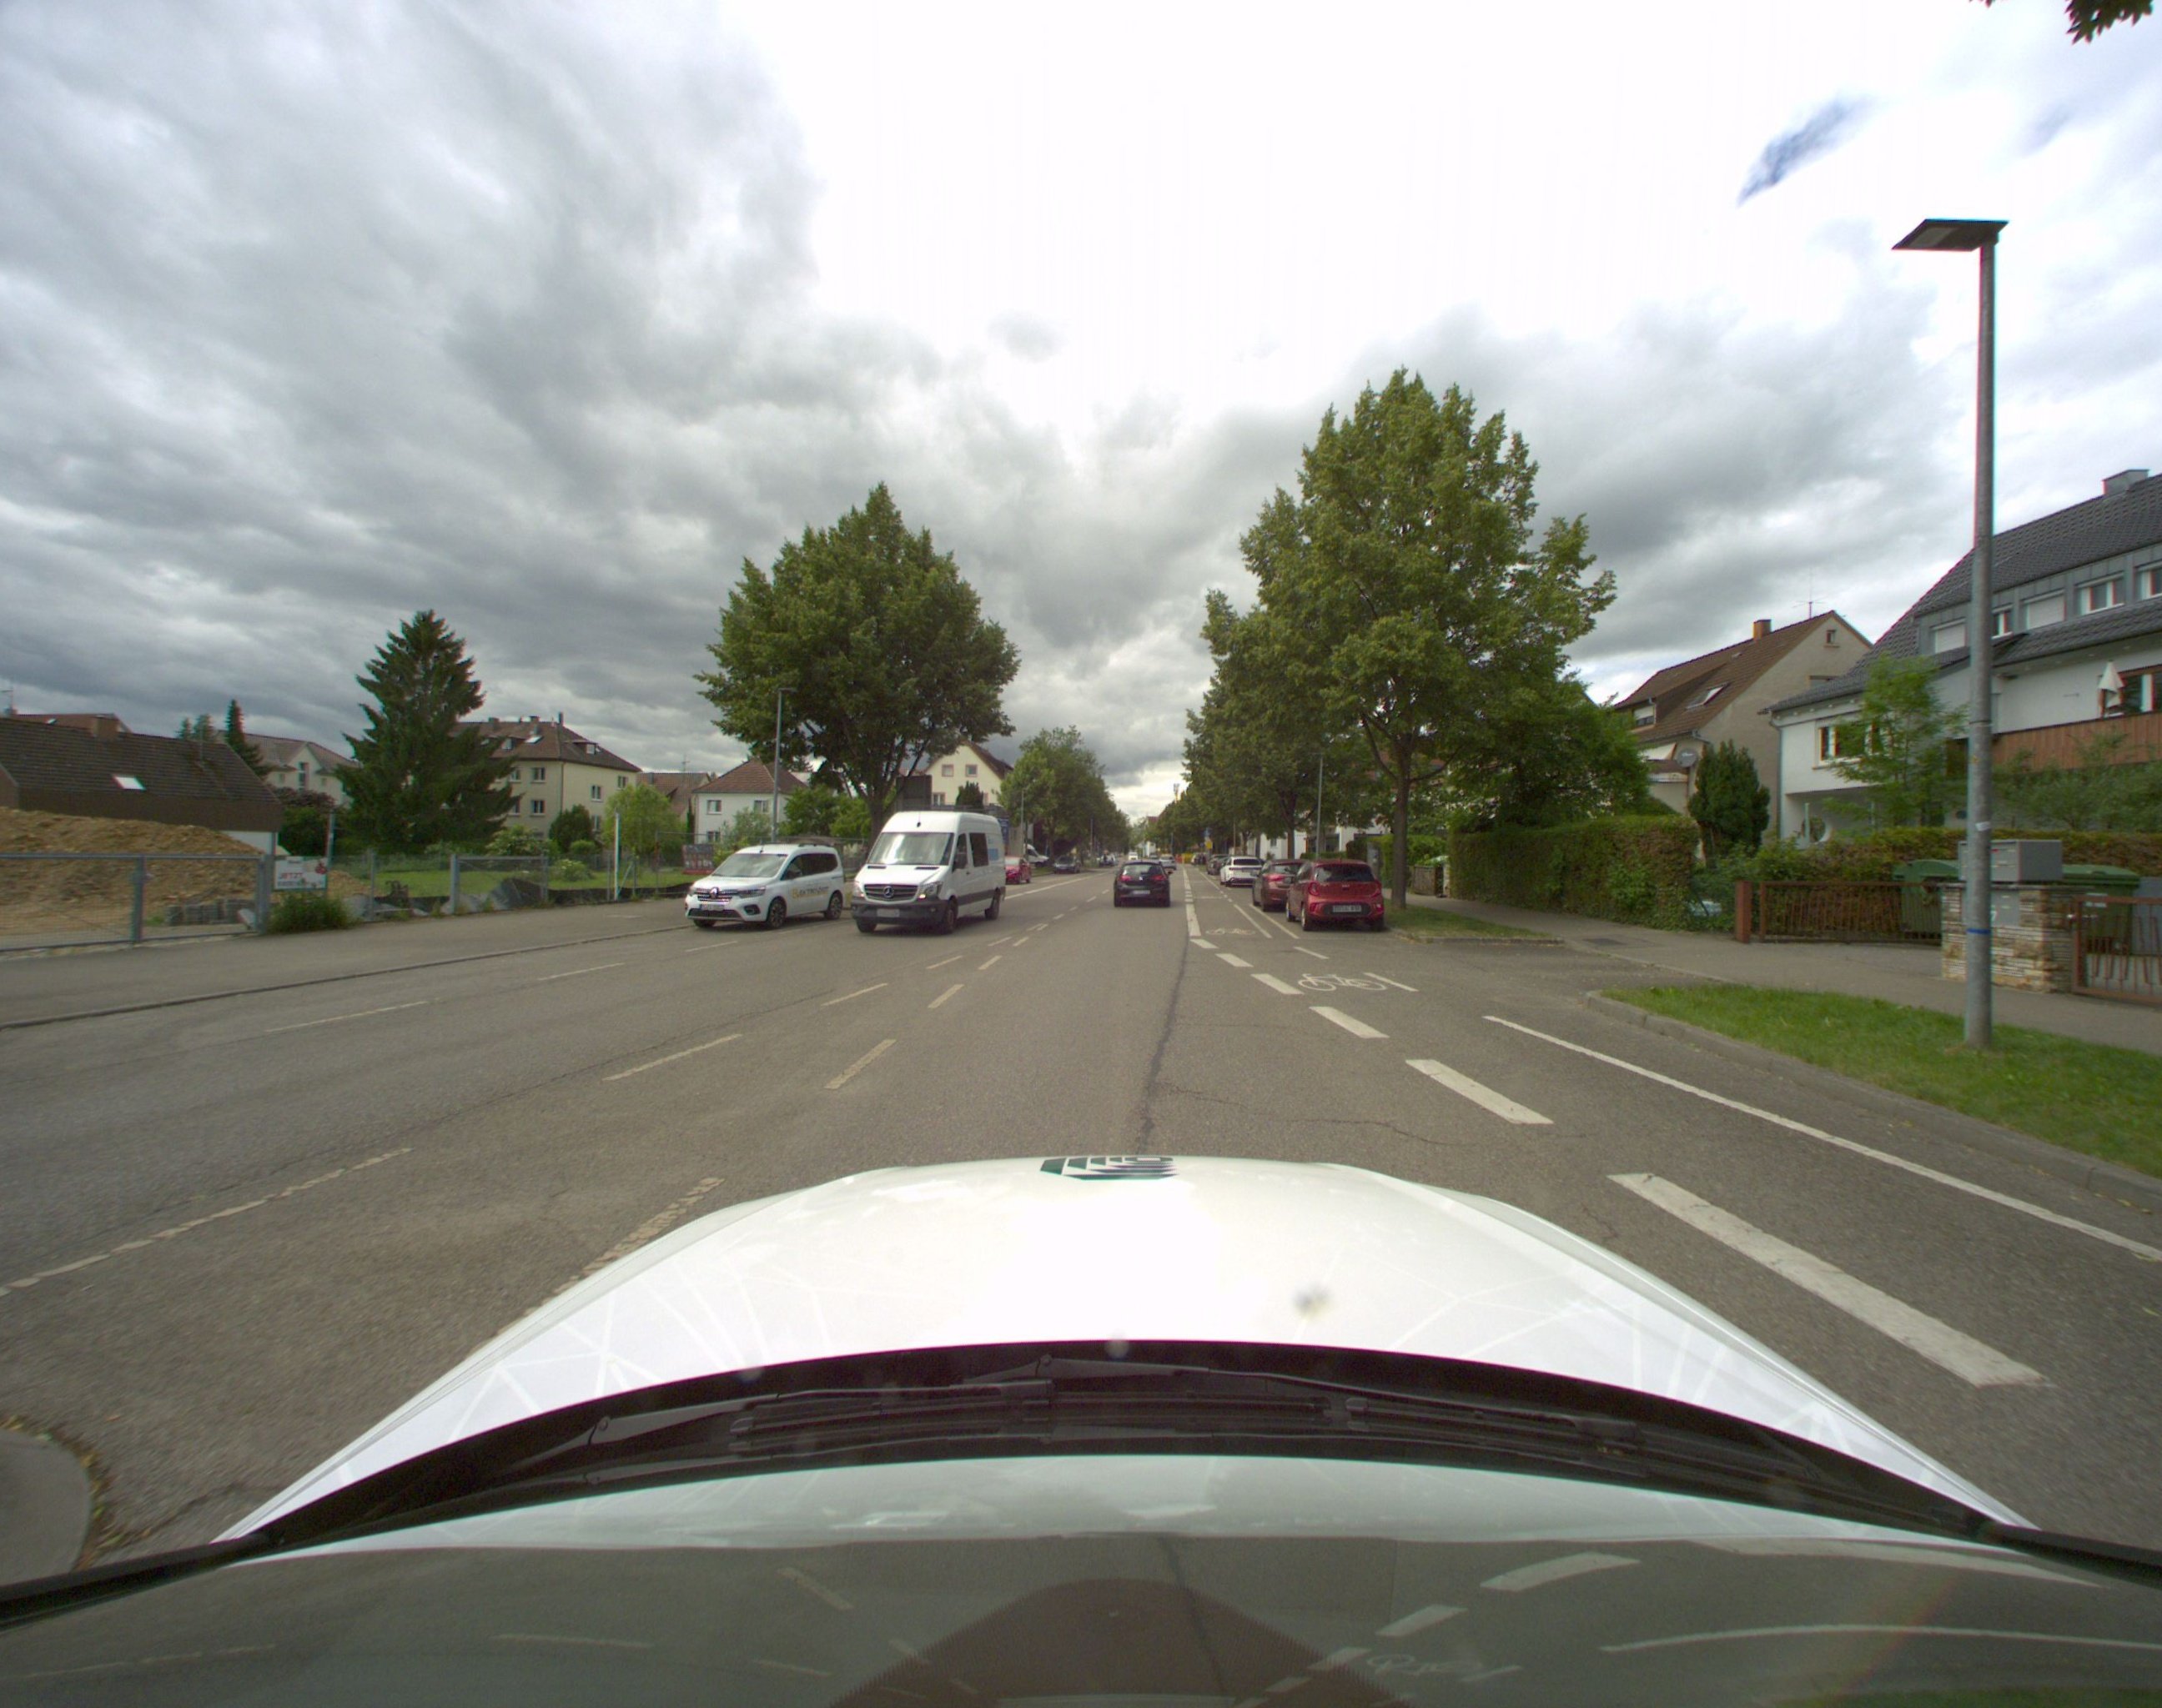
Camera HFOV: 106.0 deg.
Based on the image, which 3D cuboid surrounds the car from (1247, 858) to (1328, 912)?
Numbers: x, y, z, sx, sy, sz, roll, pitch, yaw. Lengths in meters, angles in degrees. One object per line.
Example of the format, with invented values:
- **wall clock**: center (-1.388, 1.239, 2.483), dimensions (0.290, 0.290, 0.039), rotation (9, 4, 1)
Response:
- **car**: center (5.946, 0.847, 23.909), dimensions (1.645, 1.416, 4.183), rotation (-1, 0, 5)

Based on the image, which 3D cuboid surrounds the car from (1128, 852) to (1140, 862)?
- **car**: center (9.713, 0.521, 148.811), dimensions (1.956, 1.830, 4.827), rotation (0, 0, 6)

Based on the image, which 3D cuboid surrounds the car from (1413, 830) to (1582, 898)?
- **car**: center (16.451, 0.378, 32.388), dimensions (5.691, 2.591, 1.999), rotation (0, 1, 2)

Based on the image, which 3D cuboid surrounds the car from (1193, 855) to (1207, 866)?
- **car**: center (16.245, 0.873, 111.144), dimensions (1.697, 1.454, 4.623), rotation (0, 0, 5)

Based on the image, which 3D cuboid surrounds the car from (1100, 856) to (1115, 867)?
- **car**: center (3.405, 0.941, 104.548), dimensions (1.635, 1.420, 4.026), rotation (-1, 0, 5)

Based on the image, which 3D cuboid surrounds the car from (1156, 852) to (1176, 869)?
- **car**: center (8.468, 0.636, 81.267), dimensions (1.896, 1.685, 3.746), rotation (0, 0, 6)

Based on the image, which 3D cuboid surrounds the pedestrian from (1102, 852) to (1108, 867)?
- **pedestrian**: center (2.833, 0.621, 96.503), dimensions (0.538, 1.681, 0.753), rotation (2, 1, 15)

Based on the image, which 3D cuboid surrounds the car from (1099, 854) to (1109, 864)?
- **car**: center (5.543, 1.176, 193.144), dimensions (2.087, 2.175, 5.041), rotation (0, 0, -2)

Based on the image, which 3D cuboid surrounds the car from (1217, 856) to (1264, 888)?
- **car**: center (7.803, 0.832, 40.255), dimensions (1.797, 1.475, 4.819), rotation (0, 0, 5)

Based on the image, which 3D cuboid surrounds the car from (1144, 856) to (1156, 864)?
- **car**: center (11.446, 0.947, 134.509), dimensions (1.803, 1.375, 3.695), rotation (0, 0, 2)

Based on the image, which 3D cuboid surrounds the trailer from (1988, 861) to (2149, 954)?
- **trailer**: center (16.478, 0.875, 13.632), dimensions (1.464, 1.419, 0.984), rotation (3, 0, 0)

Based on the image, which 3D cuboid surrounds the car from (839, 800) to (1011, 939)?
- **car**: center (-3.284, 0.291, 18.648), dimensions (2.007, 2.674, 5.819), rotation (0, 0, 8)

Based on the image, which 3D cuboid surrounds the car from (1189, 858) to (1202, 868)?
- **car**: center (16.937, 1.372, 120.764), dimensions (1.665, 1.462, 4.004), rotation (0, 0, 4)

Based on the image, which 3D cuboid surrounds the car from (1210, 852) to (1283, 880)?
- **car**: center (10.188, 0.720, 50.397), dimensions (4.202, 1.638, 1.693), rotation (-1, 0, 1)

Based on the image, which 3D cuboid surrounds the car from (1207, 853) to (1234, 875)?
- **car**: center (10.606, 0.738, 62.123), dimensions (1.714, 1.580, 4.066), rotation (0, 0, 4)

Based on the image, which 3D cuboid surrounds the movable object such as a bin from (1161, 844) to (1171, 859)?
- **movable object such as a bin**: center (14.972, -0.395, 143.460), dimensions (1.760, 2.574, 3.744), rotation (0, 0, 4)

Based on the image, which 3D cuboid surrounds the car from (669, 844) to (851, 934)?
- **car**: center (-7.036, 0.682, 18.456), dimensions (1.760, 1.770, 4.562), rotation (0, 0, 8)

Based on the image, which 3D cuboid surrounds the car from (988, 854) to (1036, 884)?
- **car**: center (-3.728, 0.784, 44.708), dimensions (1.675, 1.541, 4.142), rotation (0, 0, 8)

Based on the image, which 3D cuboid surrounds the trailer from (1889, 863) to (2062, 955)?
- **trailer**: center (14.846, 0.890, 13.573), dimensions (1.576, 1.374, 1.150), rotation (3, 0, 0)

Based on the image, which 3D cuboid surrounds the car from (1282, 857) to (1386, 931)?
- **car**: center (5.503, 0.830, 18.097), dimensions (1.557, 1.455, 3.675), rotation (0, -1, 6)

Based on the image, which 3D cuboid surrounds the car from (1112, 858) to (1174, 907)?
- **car**: center (1.980, 0.855, 26.046), dimensions (1.810, 1.437, 3.744), rotation (0, 0, 4)

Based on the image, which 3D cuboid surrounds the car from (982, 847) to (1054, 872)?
- **car**: center (-6.545, 0.551, 85.227), dimensions (7.259, 2.594, 2.222), rotation (0, 0, 2)

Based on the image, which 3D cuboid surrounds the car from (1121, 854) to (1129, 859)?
- **car**: center (12.151, 0.760, 225.623), dimensions (1.807, 1.415, 3.686), rotation (0, 0, -5)

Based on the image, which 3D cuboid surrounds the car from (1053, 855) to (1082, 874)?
- **car**: center (-1.045, 0.852, 66.928), dimensions (1.721, 1.469, 4.310), rotation (0, 0, 8)
